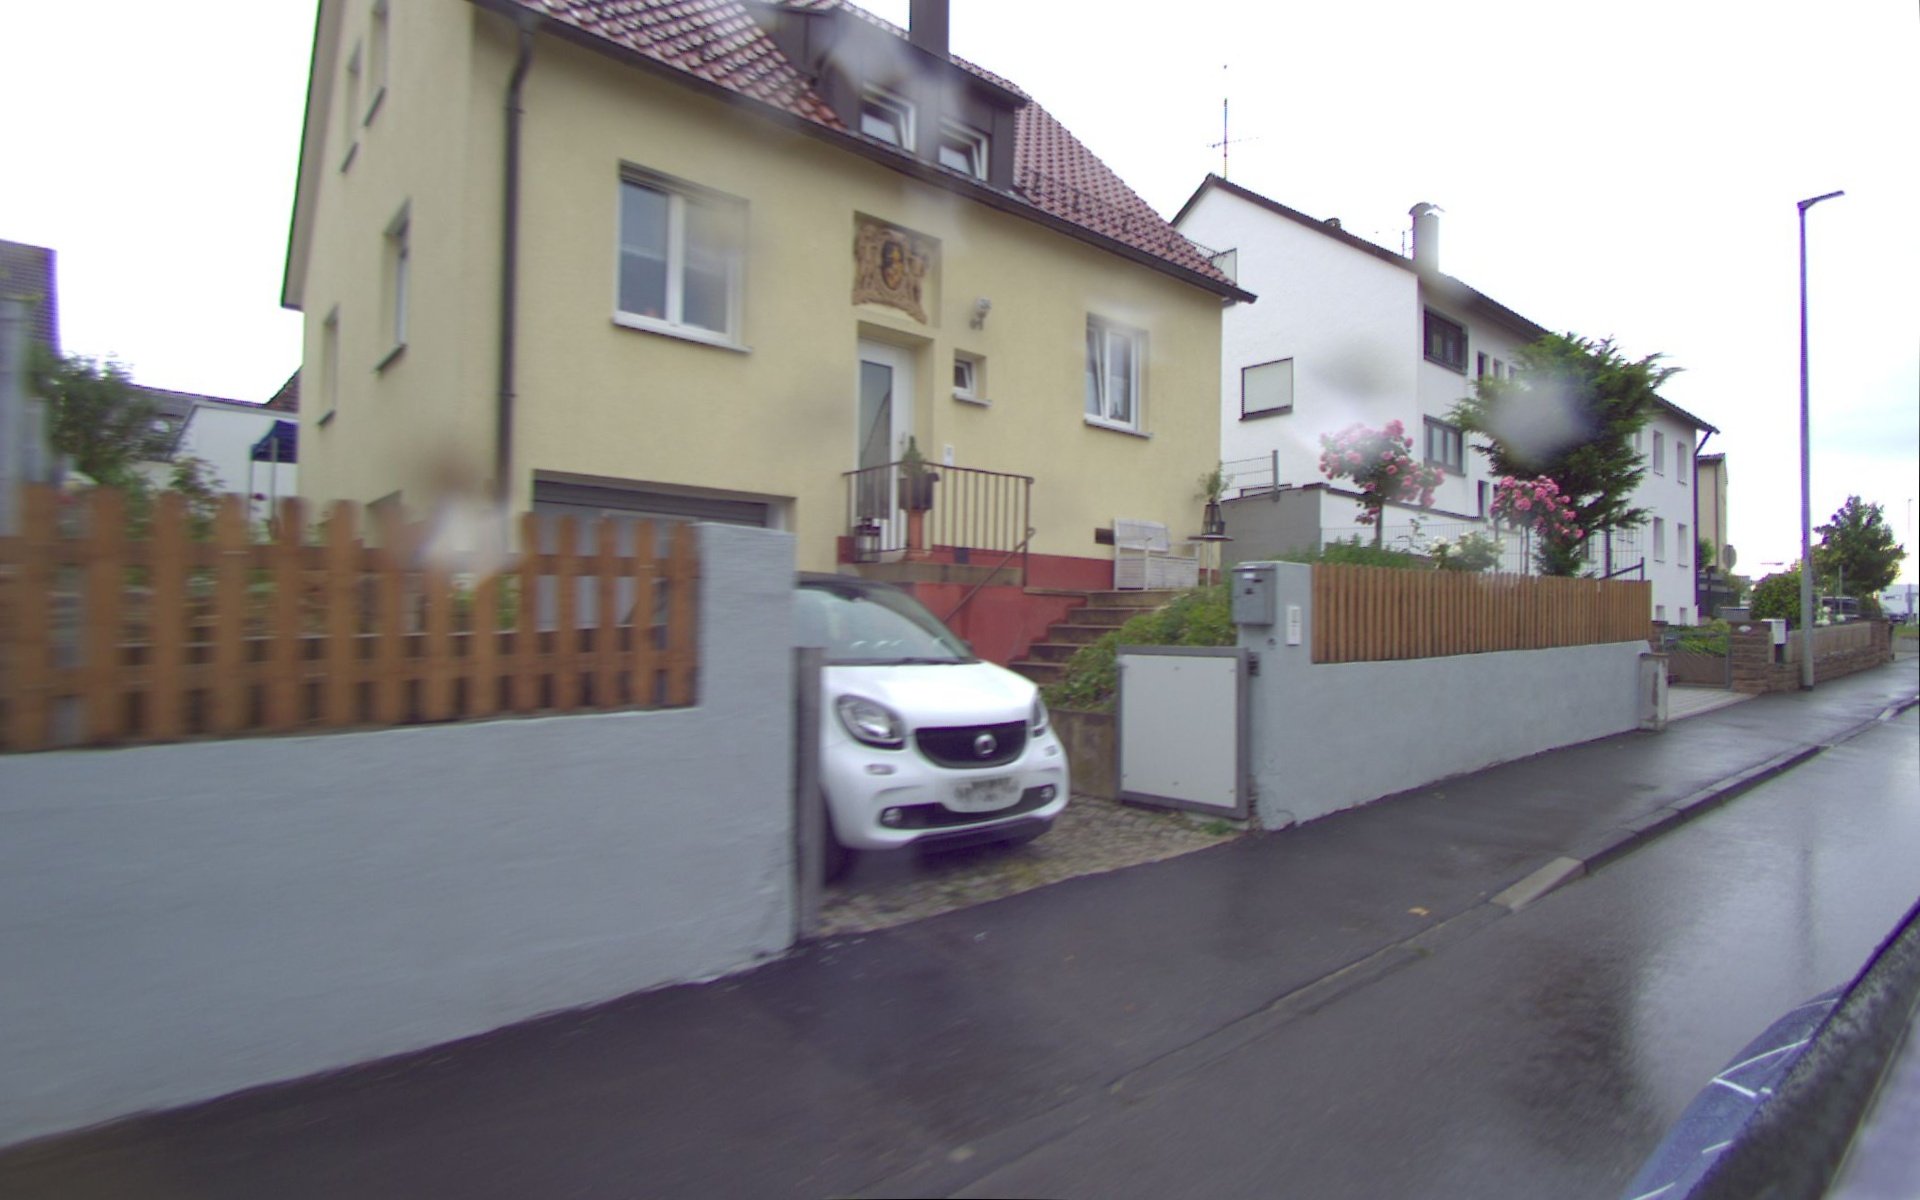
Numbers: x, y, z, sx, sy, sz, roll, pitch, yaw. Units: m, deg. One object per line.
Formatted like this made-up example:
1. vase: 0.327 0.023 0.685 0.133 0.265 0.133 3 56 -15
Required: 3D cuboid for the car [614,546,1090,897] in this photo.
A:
1. car: -0.845 0.563 6.201 1.601 1.543 3.080 2 -2 -35
